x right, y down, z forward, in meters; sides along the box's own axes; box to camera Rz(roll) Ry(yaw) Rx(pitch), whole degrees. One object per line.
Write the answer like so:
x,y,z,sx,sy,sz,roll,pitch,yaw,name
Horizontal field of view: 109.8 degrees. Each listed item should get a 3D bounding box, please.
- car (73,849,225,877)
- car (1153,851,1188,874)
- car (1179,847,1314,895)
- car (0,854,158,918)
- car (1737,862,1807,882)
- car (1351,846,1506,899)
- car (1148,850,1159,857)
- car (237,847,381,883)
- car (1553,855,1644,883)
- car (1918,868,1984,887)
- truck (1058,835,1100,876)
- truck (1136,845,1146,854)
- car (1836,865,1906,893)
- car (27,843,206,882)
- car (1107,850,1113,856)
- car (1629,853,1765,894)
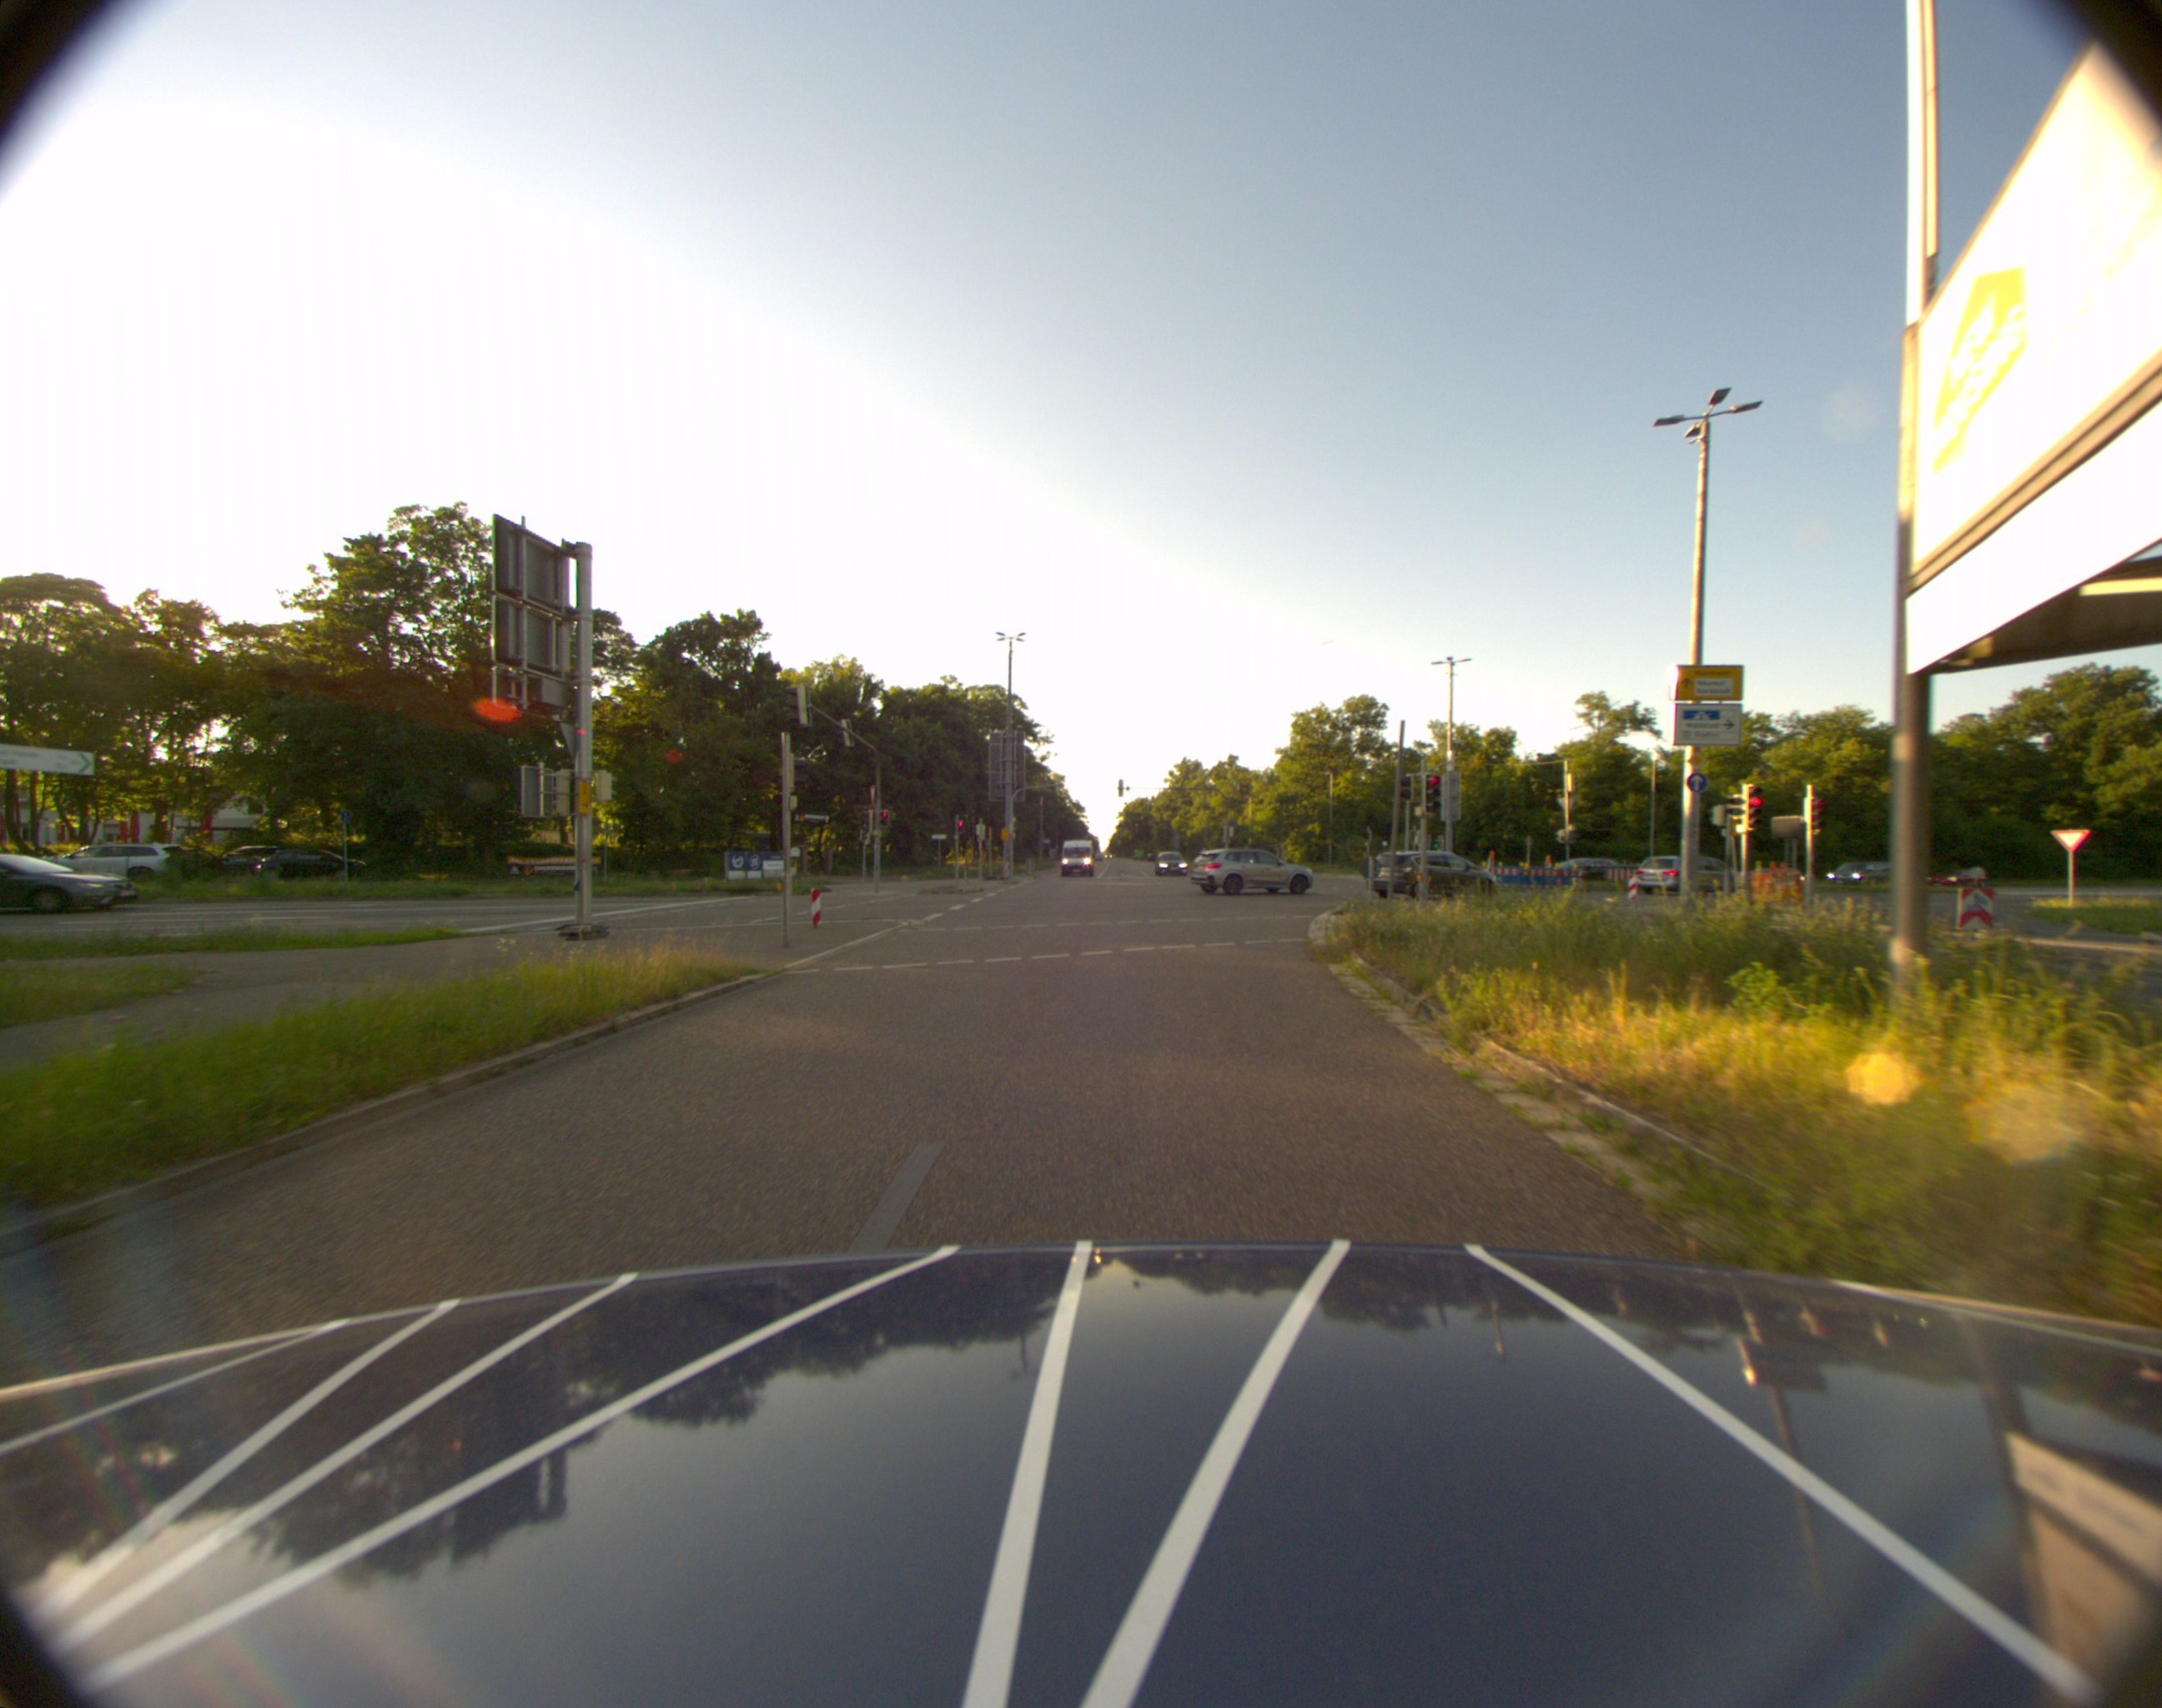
-47.623,0.430,38.966,4.554,1.398,1.861,0,1,-26,car
6.089,0.554,52.037,2.001,1.511,4.000,0,1,2,car
6.007,0.565,27.589,4.401,1.615,1.996,0,1,-22,car
-25.552,0.738,18.112,4.080,1.397,1.868,0,2,-22,car
51.504,1.330,56.669,4.403,1.447,1.719,0,1,-15,car
12.042,0.612,26.339,4.826,1.652,2.008,0,2,-21,car
14.863,-0.079,155.905,1.663,1.320,4.045,0,2,0,car
-36.817,0.509,36.428,4.557,1.648,1.860,1,0,-35,car
28.219,0.792,41.434,4.235,1.447,1.719,0,1,-15,car
70.892,1.879,61.957,4.236,1.413,1.881,0,1,-15,car
-0.141,0.114,51.911,2.603,2.542,6.023,-2,0,0,truck
13.978,-1.023,177.302,1.999,2.109,3.999,0,1,0,truck
60.174,1.857,57.862,4.236,2.013,1.881,0,1,-15,car
-42.677,0.351,33.802,4.554,1.648,1.861,0,1,-26,car
9.468,-0.288,245.624,1.846,1.587,4.207,0,2,1,car
26.803,0.827,33.122,4.659,1.714,1.871,0,0,-7,car
